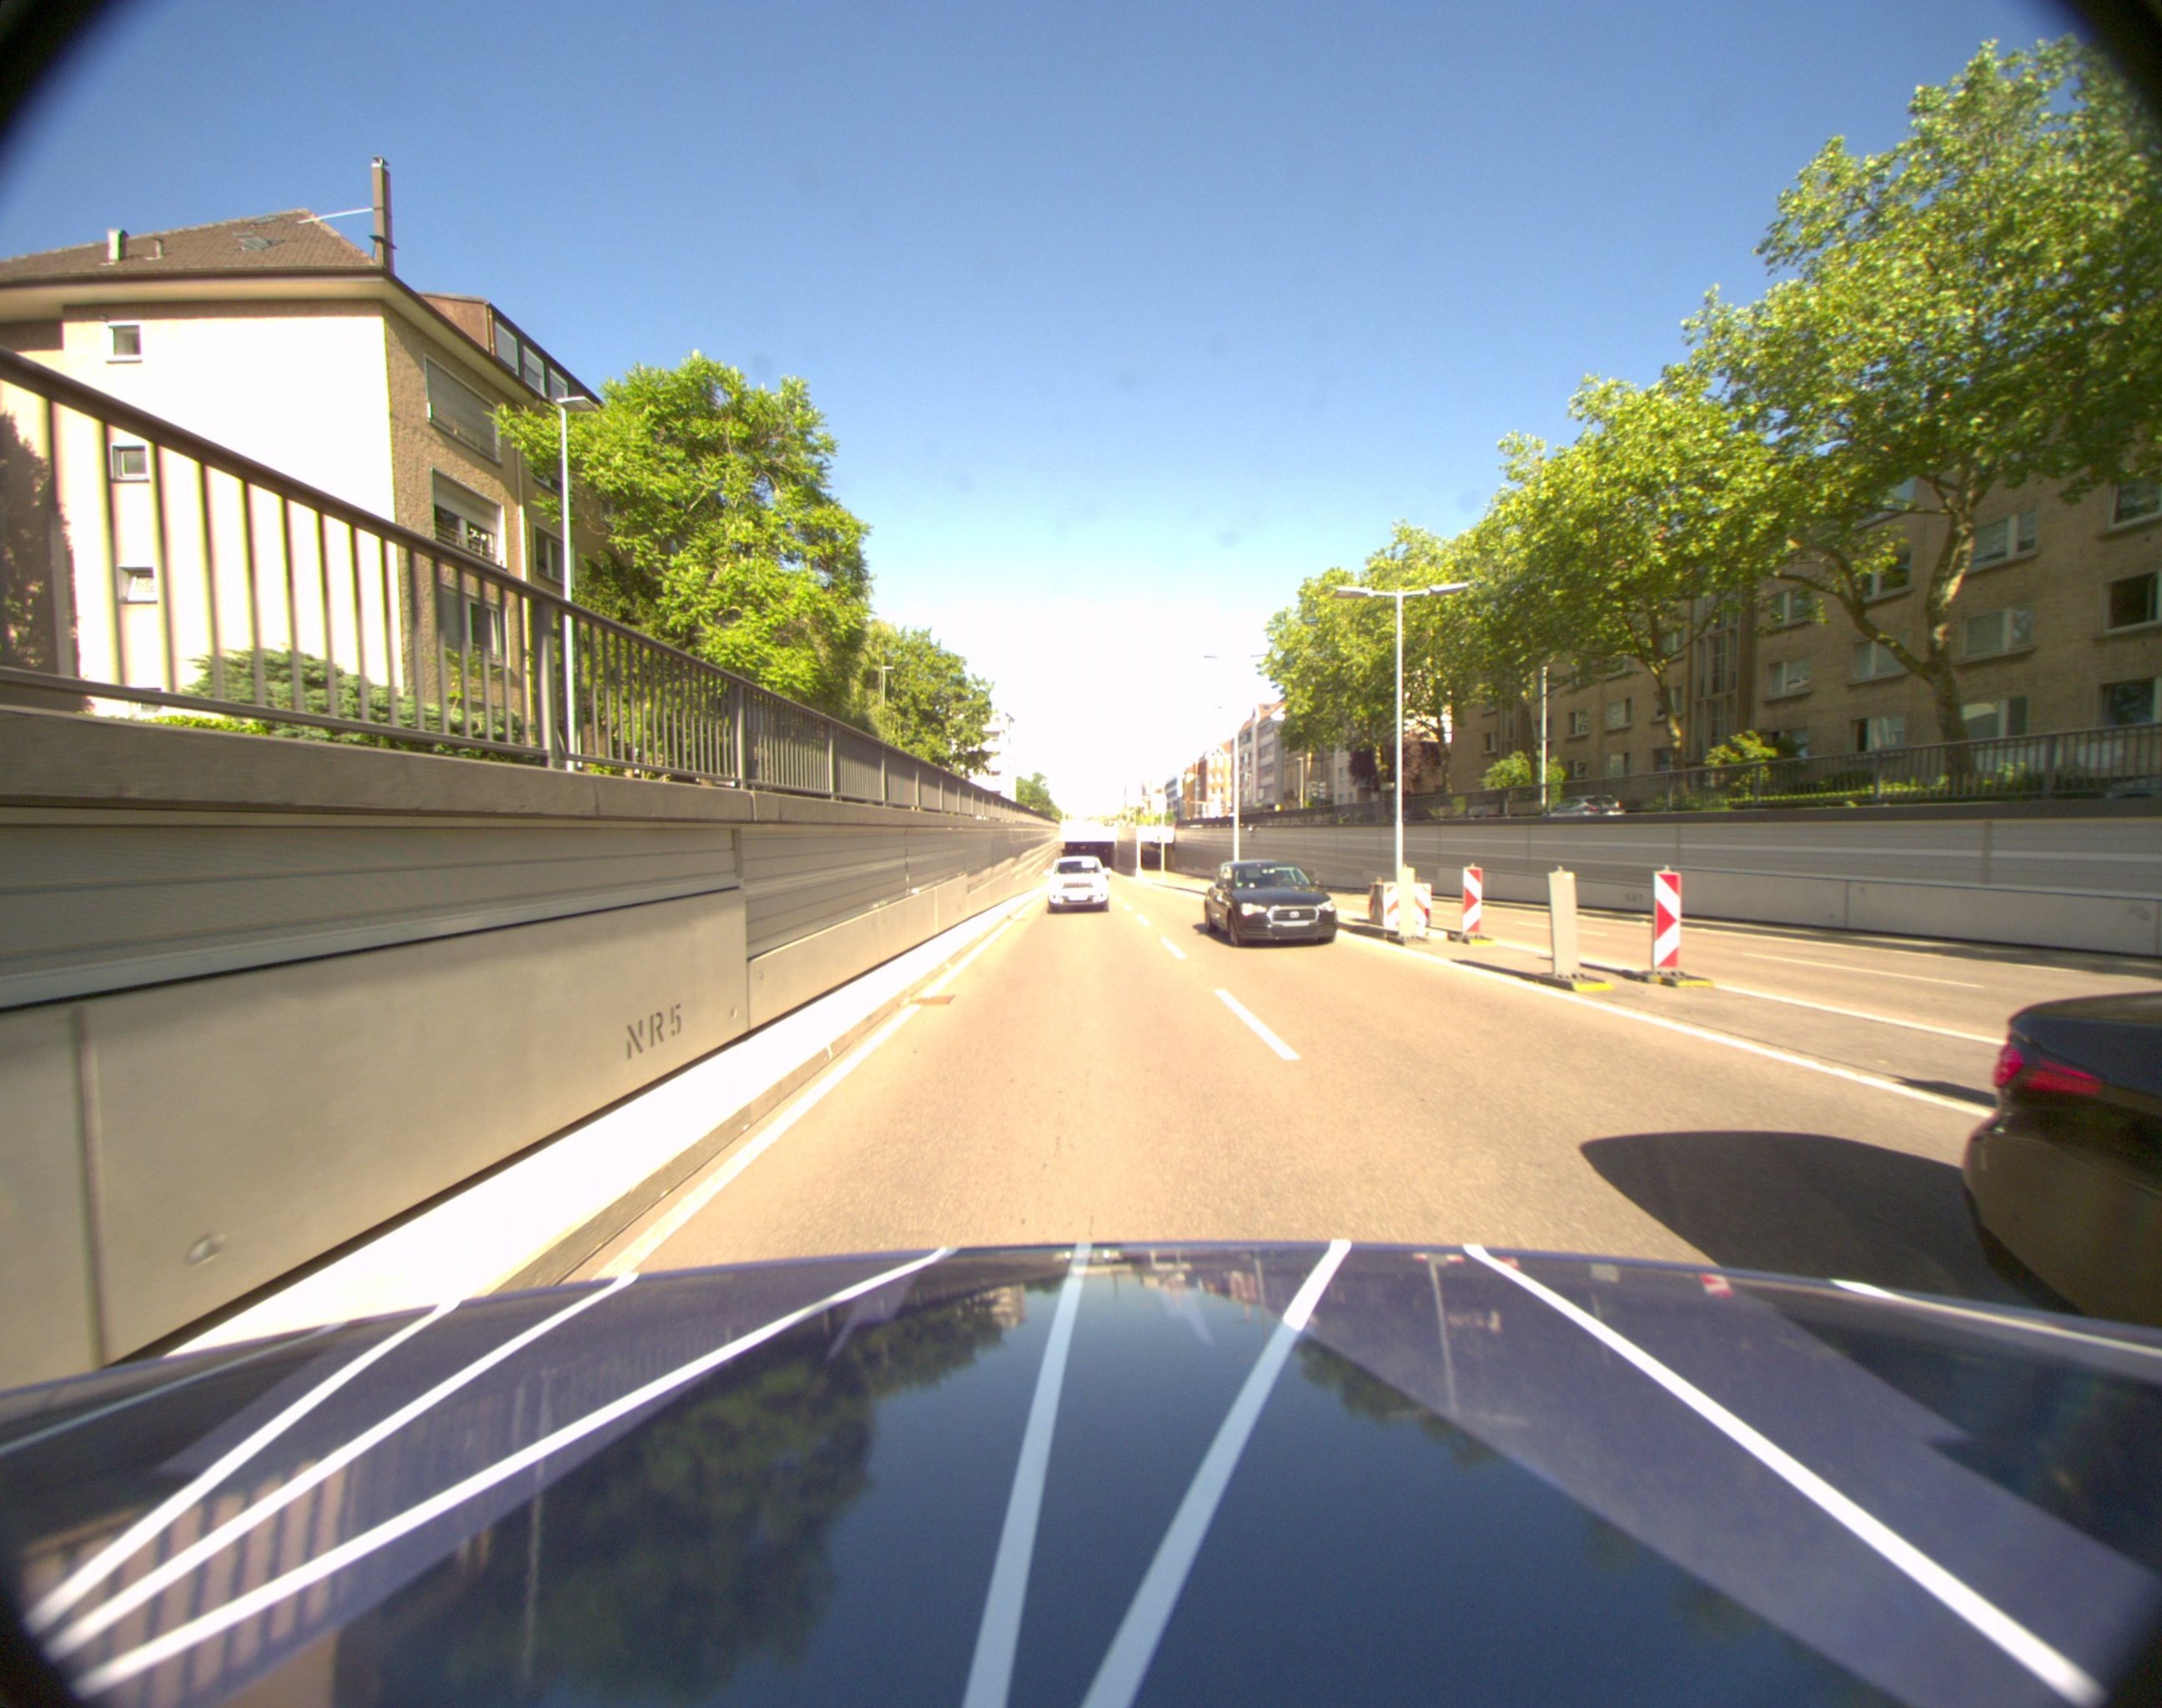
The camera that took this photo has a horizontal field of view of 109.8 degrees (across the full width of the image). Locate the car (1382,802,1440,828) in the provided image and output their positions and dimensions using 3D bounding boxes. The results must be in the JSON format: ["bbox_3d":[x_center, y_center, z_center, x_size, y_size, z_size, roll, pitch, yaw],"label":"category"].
[{"bbox_3d":[22.190,-2.591,51.288,1.926,1.575,4.302,-2,2,-2],"label":"car"}]

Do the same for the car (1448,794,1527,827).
[{"bbox_3d":[22.367,-2.363,41.971,1.926,1.575,4.302,-2,2,-2],"label":"car"}]

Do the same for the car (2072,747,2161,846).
[{"bbox_3d":[22.355,-1.155,14.181,1.970,1.949,4.412,-2,2,0],"label":"car"}]

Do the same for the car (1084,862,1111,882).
[{"bbox_3d":[1.301,1.425,60.670,1.998,1.407,4.000,-2,0,0],"label":"car"}]

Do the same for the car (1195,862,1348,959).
[{"bbox_3d":[3.226,0.889,13.639,1.700,1.410,3.888,-2,0,-1],"label":"car"}]

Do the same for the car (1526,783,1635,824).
[{"bbox_3d":[22.148,-2.213,33.921,1.926,1.575,4.302,-2,2,-2],"label":"car"}]

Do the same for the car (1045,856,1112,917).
[{"bbox_3d":[-0.077,0.930,23.771,1.855,1.658,3.970,-2,0,0],"label":"car"}]
